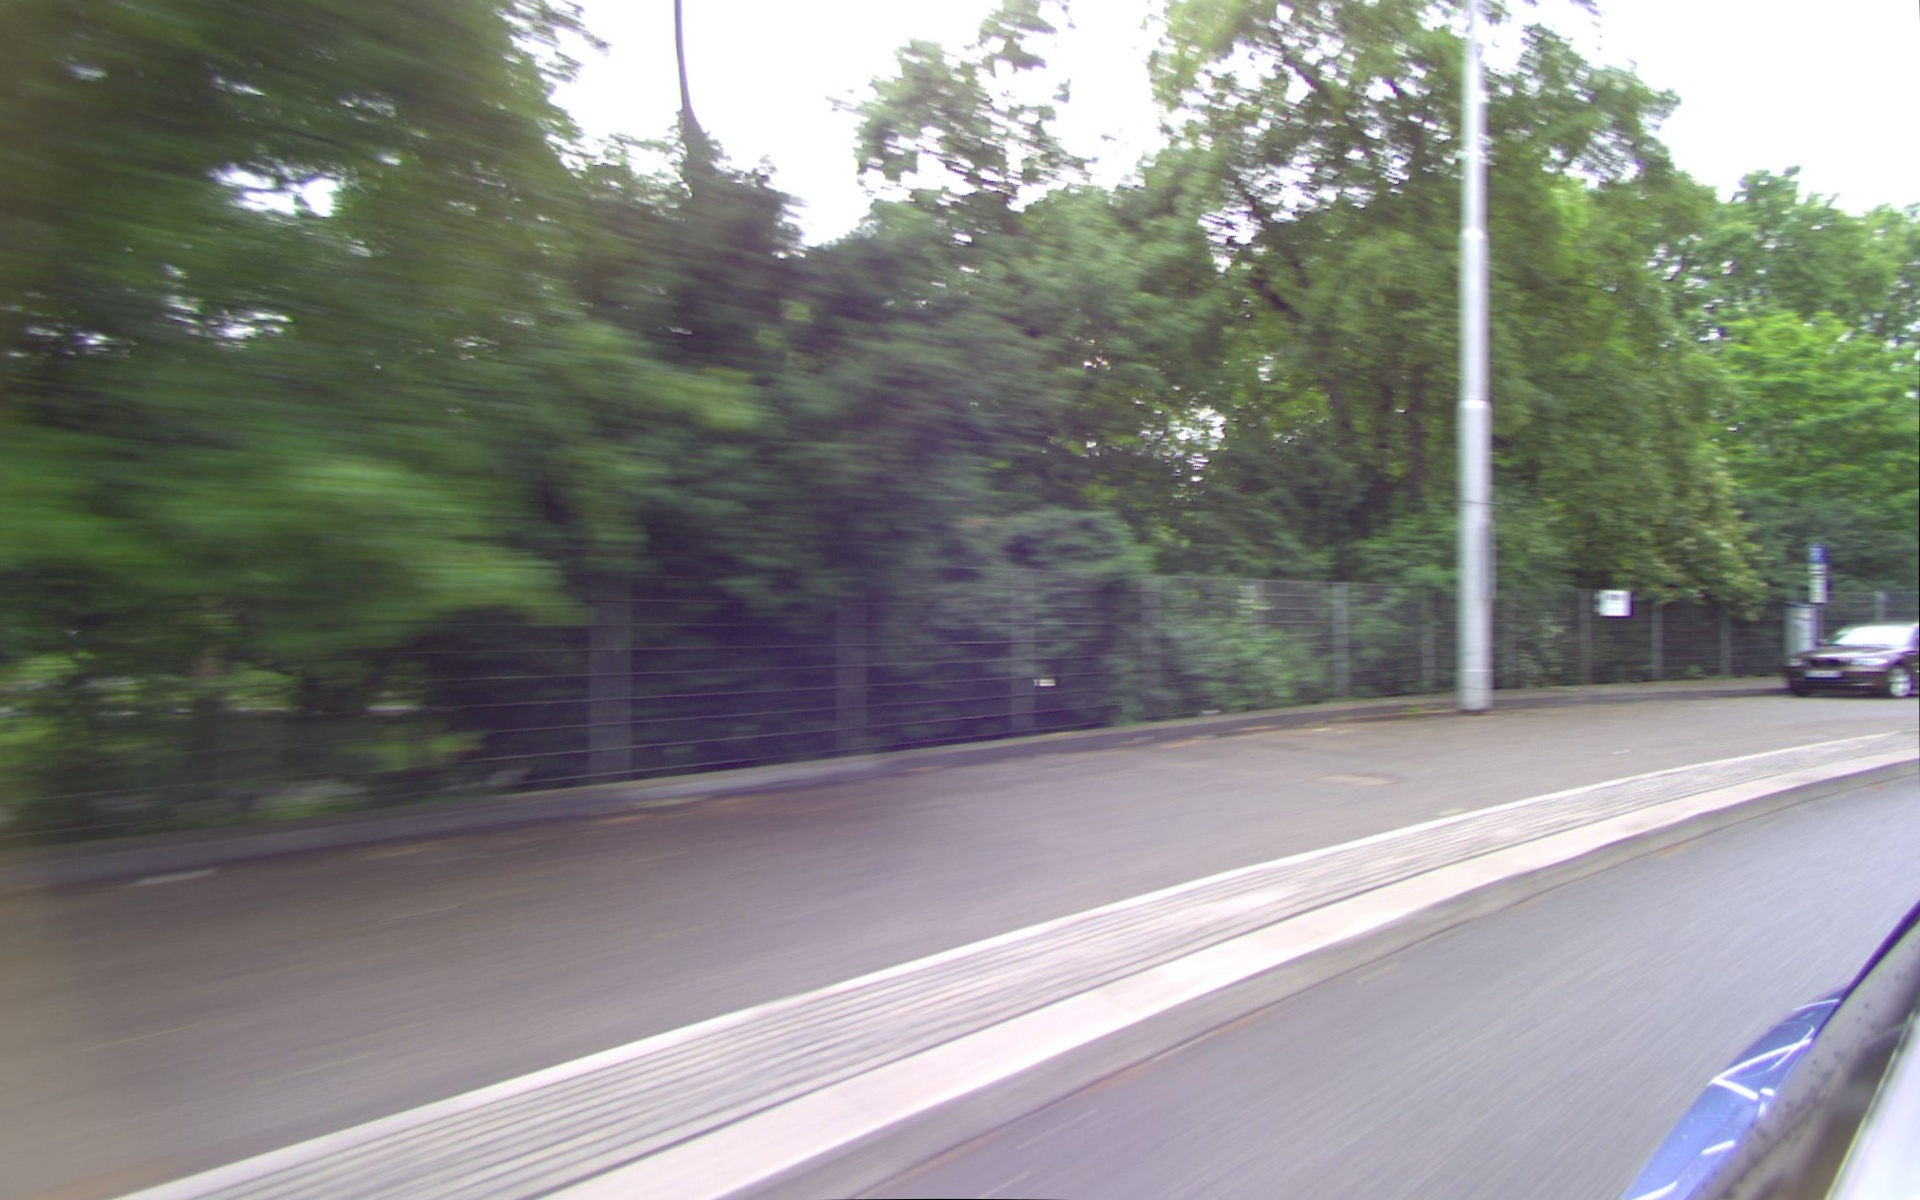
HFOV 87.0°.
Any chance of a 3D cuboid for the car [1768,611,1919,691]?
[{"bbox_3d":[17.796,0.972,19.255,4.086,1.395,1.881,1,-4,-20],"label":"car"}]
